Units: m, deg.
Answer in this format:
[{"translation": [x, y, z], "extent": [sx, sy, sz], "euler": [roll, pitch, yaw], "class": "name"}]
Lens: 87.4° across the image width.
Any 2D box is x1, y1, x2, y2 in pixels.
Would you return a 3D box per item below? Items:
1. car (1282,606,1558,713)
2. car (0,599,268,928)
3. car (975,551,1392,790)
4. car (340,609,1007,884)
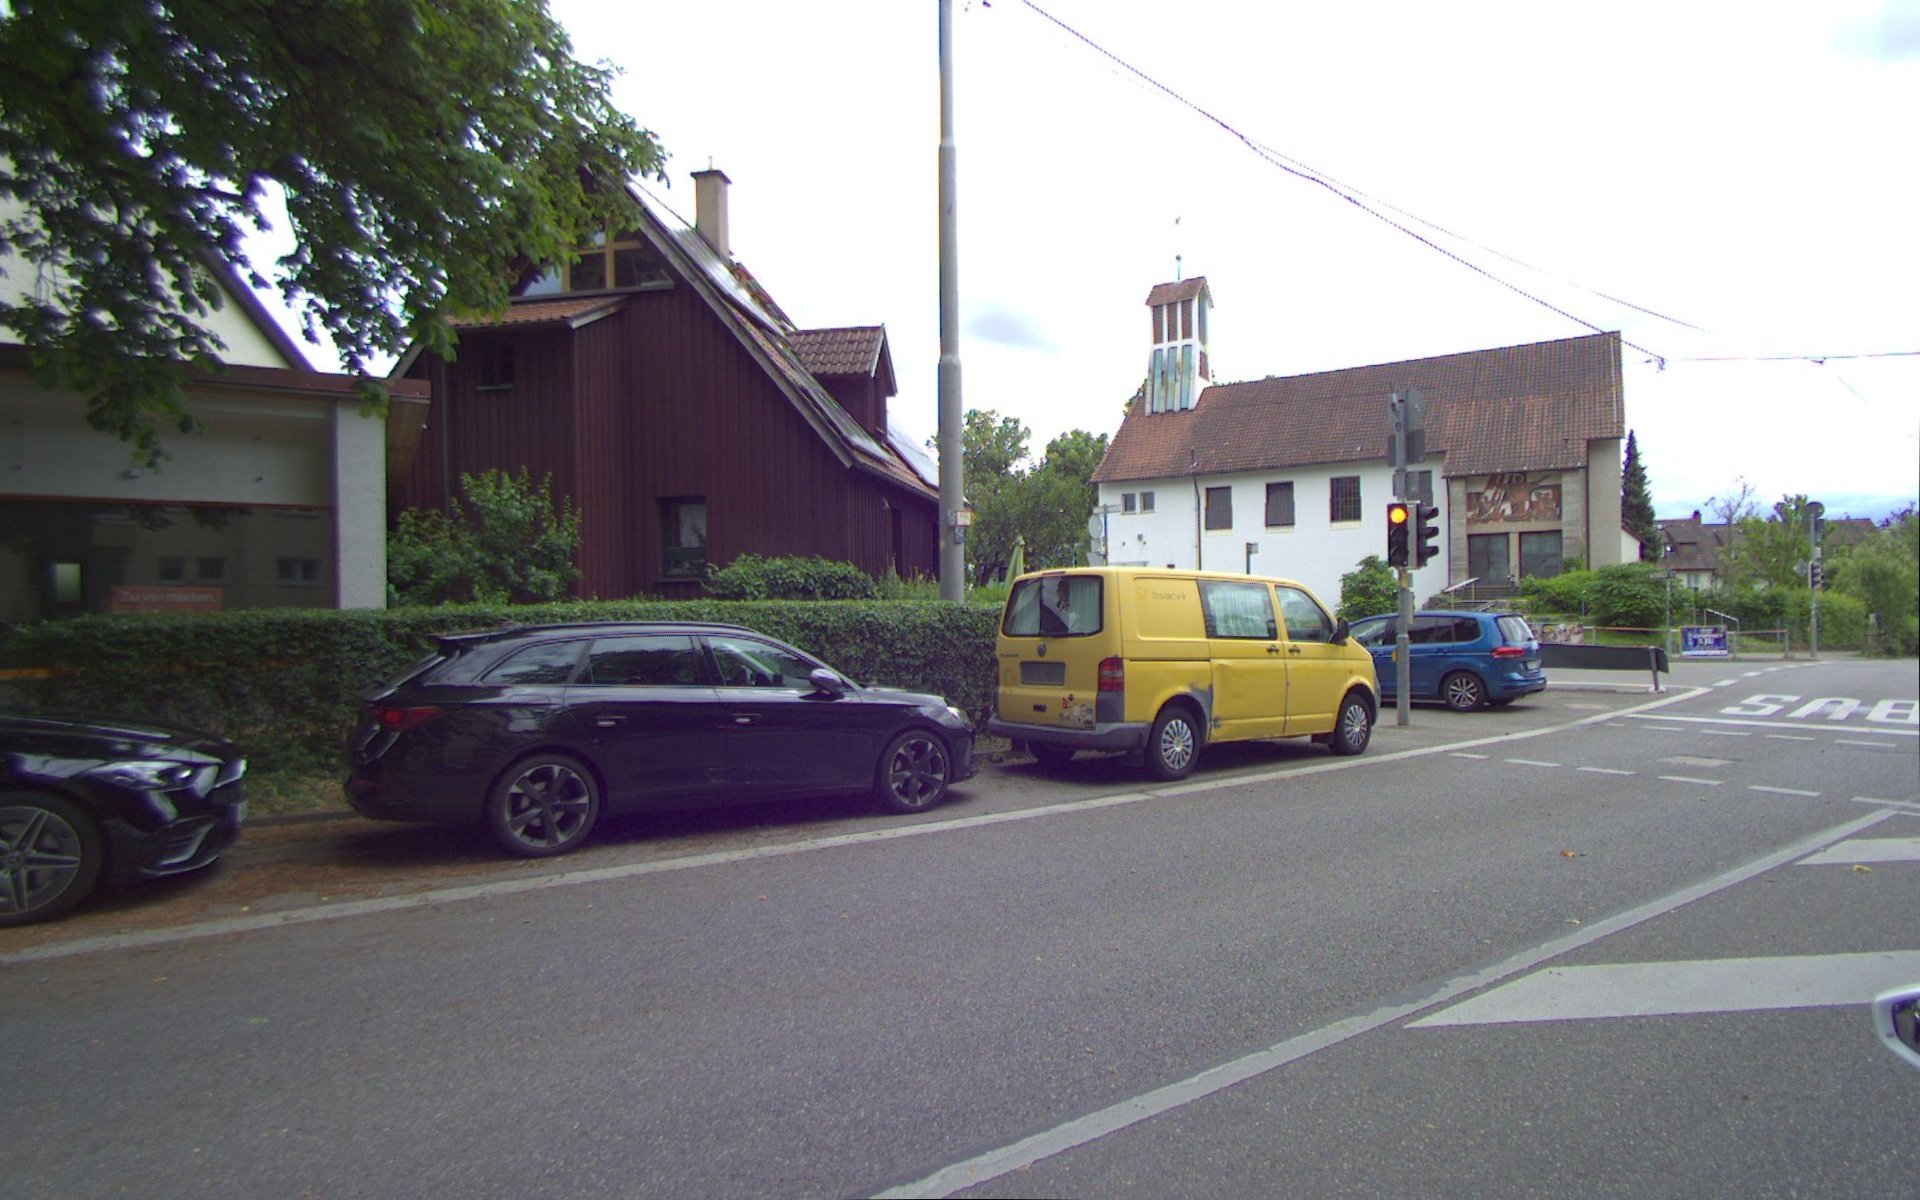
[{"translation": [7.858, 0.987, 17.393], "extent": [1.806, 1.632, 3.948], "euler": [1, -3, -44], "class": "car"}, {"translation": [-6.167, 0.768, 4.780], "extent": [4.561, 1.520, 1.984], "euler": [1, -2, -31], "class": "car"}, {"translation": [2.506, 0.648, 10.710], "extent": [4.523, 2.040, 1.870], "euler": [1, -2, -37], "class": "car"}, {"translation": [-1.950, 0.848, 7.465], "extent": [4.494, 1.505, 1.681], "euler": [1, -2, -34], "class": "car"}]
